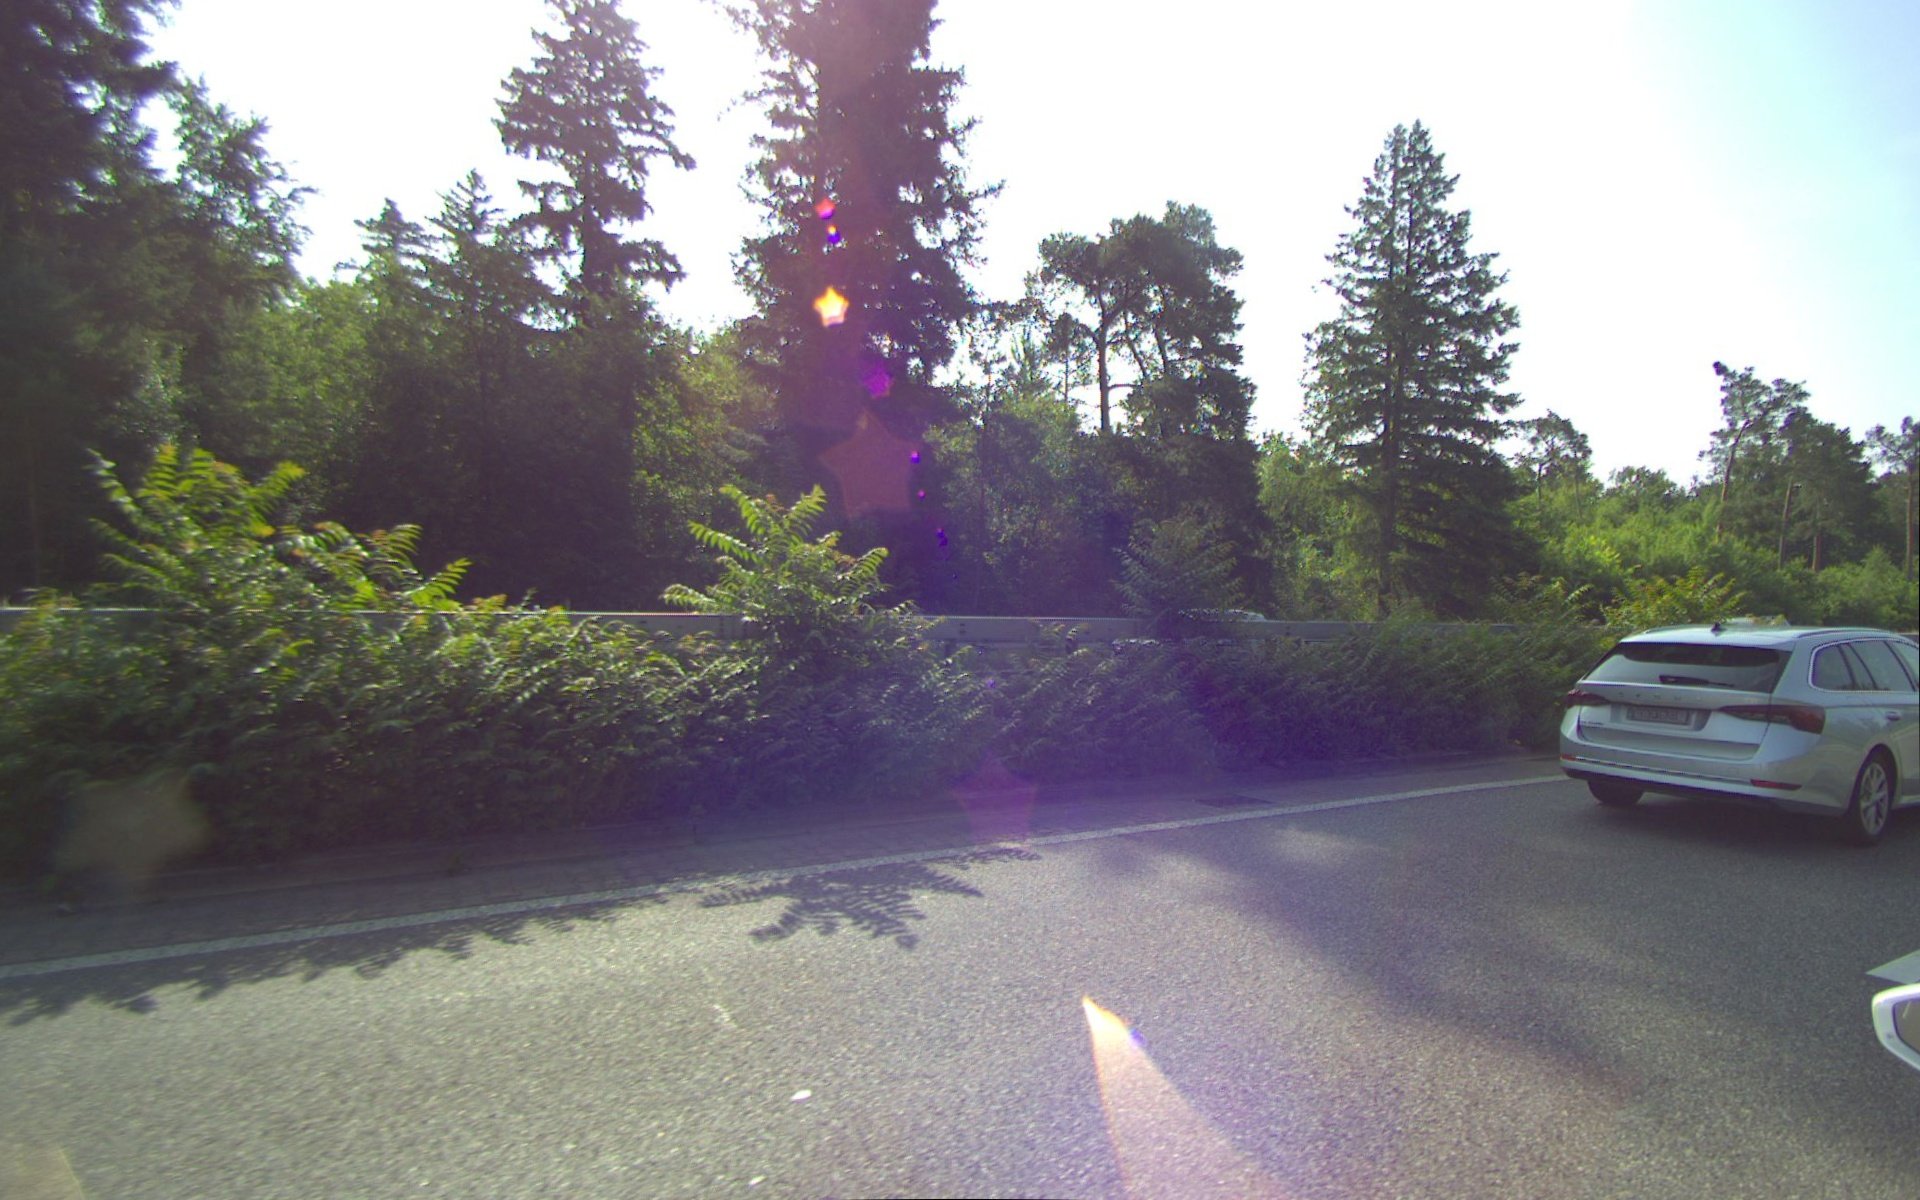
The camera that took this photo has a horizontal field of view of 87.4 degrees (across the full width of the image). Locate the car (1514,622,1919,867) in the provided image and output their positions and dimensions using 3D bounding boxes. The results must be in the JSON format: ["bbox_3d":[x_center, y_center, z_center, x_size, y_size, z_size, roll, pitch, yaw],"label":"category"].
[{"bbox_3d":[6.878,0.927,8.133,5.216,1.457,1.784,1,-1,-30],"label":"car"}]

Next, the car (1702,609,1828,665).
[{"bbox_3d":[26.557,1.218,33.118,4.249,1.705,1.807,2,0,-30],"label":"car"}]
